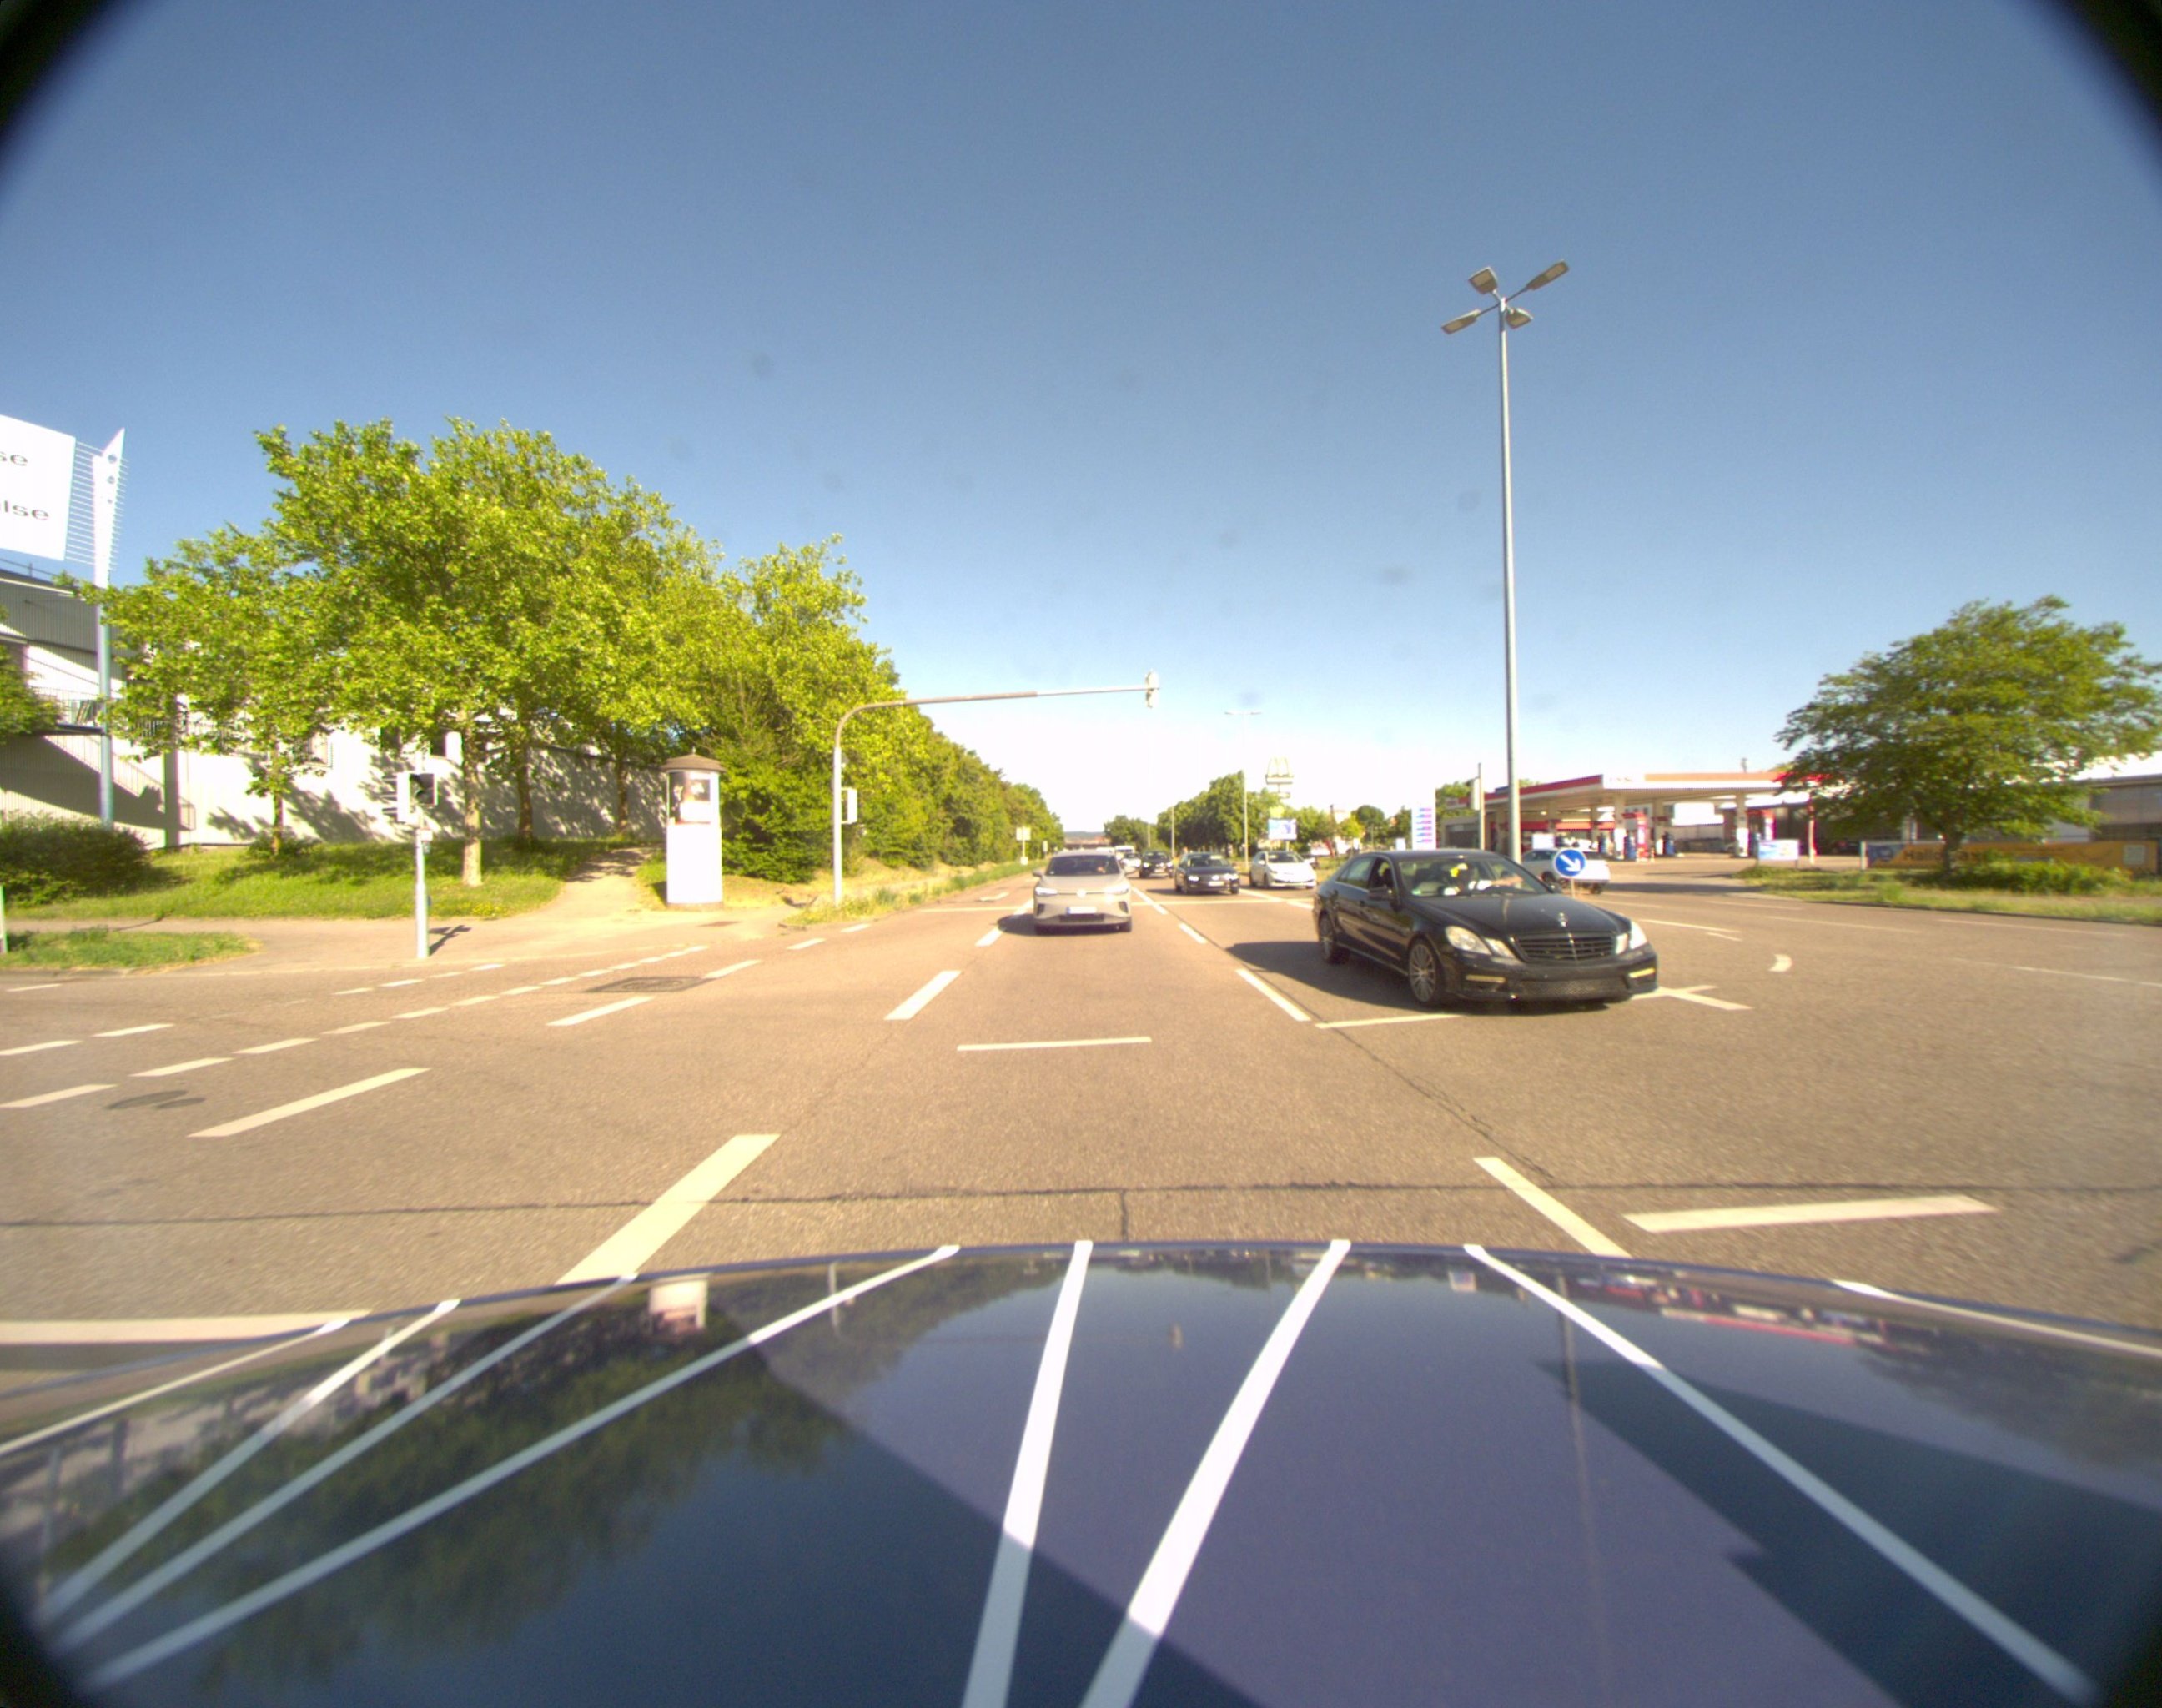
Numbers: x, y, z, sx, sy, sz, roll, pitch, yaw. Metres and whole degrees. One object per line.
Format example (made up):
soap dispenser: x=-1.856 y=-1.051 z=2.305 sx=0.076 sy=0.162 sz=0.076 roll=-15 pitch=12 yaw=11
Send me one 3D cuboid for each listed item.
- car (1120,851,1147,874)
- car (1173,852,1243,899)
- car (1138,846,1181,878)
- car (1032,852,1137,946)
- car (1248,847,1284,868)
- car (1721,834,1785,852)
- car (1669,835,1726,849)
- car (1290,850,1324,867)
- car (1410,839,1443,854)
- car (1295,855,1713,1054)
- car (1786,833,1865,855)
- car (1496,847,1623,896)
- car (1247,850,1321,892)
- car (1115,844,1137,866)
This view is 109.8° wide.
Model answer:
car: x=4.344 y=0.694 z=63.258 sx=1.998 sy=1.779 sz=4.270 roll=-2 pitch=1 yaw=1
car: x=4.416 y=0.693 z=27.000 sx=1.848 sy=1.445 sz=4.265 roll=-2 pitch=1 yaw=1
car: x=4.516 y=0.443 z=44.380 sx=1.998 sy=1.674 sz=4.695 roll=-2 pitch=1 yaw=1
car: x=0.107 y=0.808 z=15.819 sx=1.848 sy=1.615 sz=4.265 roll=-2 pitch=1 yaw=1
car: x=13.039 y=0.211 z=53.638 sx=1.699 sy=1.424 sz=3.664 roll=1 pitch=1 yaw=1
car: x=56.481 y=-0.896 z=63.964 sx=1.772 sy=1.432 sz=4.119 roll=0 pitch=0 yaw=-1
car: x=57.084 y=-1.128 z=70.480 sx=1.900 sy=1.220 sz=4.119 roll=1 pitch=1 yaw=-1
car: x=19.771 y=0.347 z=66.719 sx=1.699 sy=1.424 sz=4.458 roll=1 pitch=1 yaw=1
car: x=38.845 y=-0.850 z=85.477 sx=1.762 sy=1.604 sz=4.119 roll=1 pitch=1 yaw=-1
car: x=4.014 y=0.794 z=8.421 sx=1.964 sy=1.474 sz=4.918 roll=-1 pitch=0 yaw=1
car: x=56.428 y=-0.789 z=57.708 sx=1.900 sy=1.582 sz=4.119 roll=1 pitch=1 yaw=0
car: x=16.932 y=0.544 z=27.166 sx=1.900 sy=1.590 sz=4.266 roll=1 pitch=1 yaw=1
car: x=7.690 y=0.599 z=29.139 sx=1.790 sy=1.447 sz=4.116 roll=-1 pitch=1 yaw=1
car: x=4.659 y=0.074 z=79.049 sx=2.089 sy=2.230 sz=3.999 roll=-2 pitch=1 yaw=1
